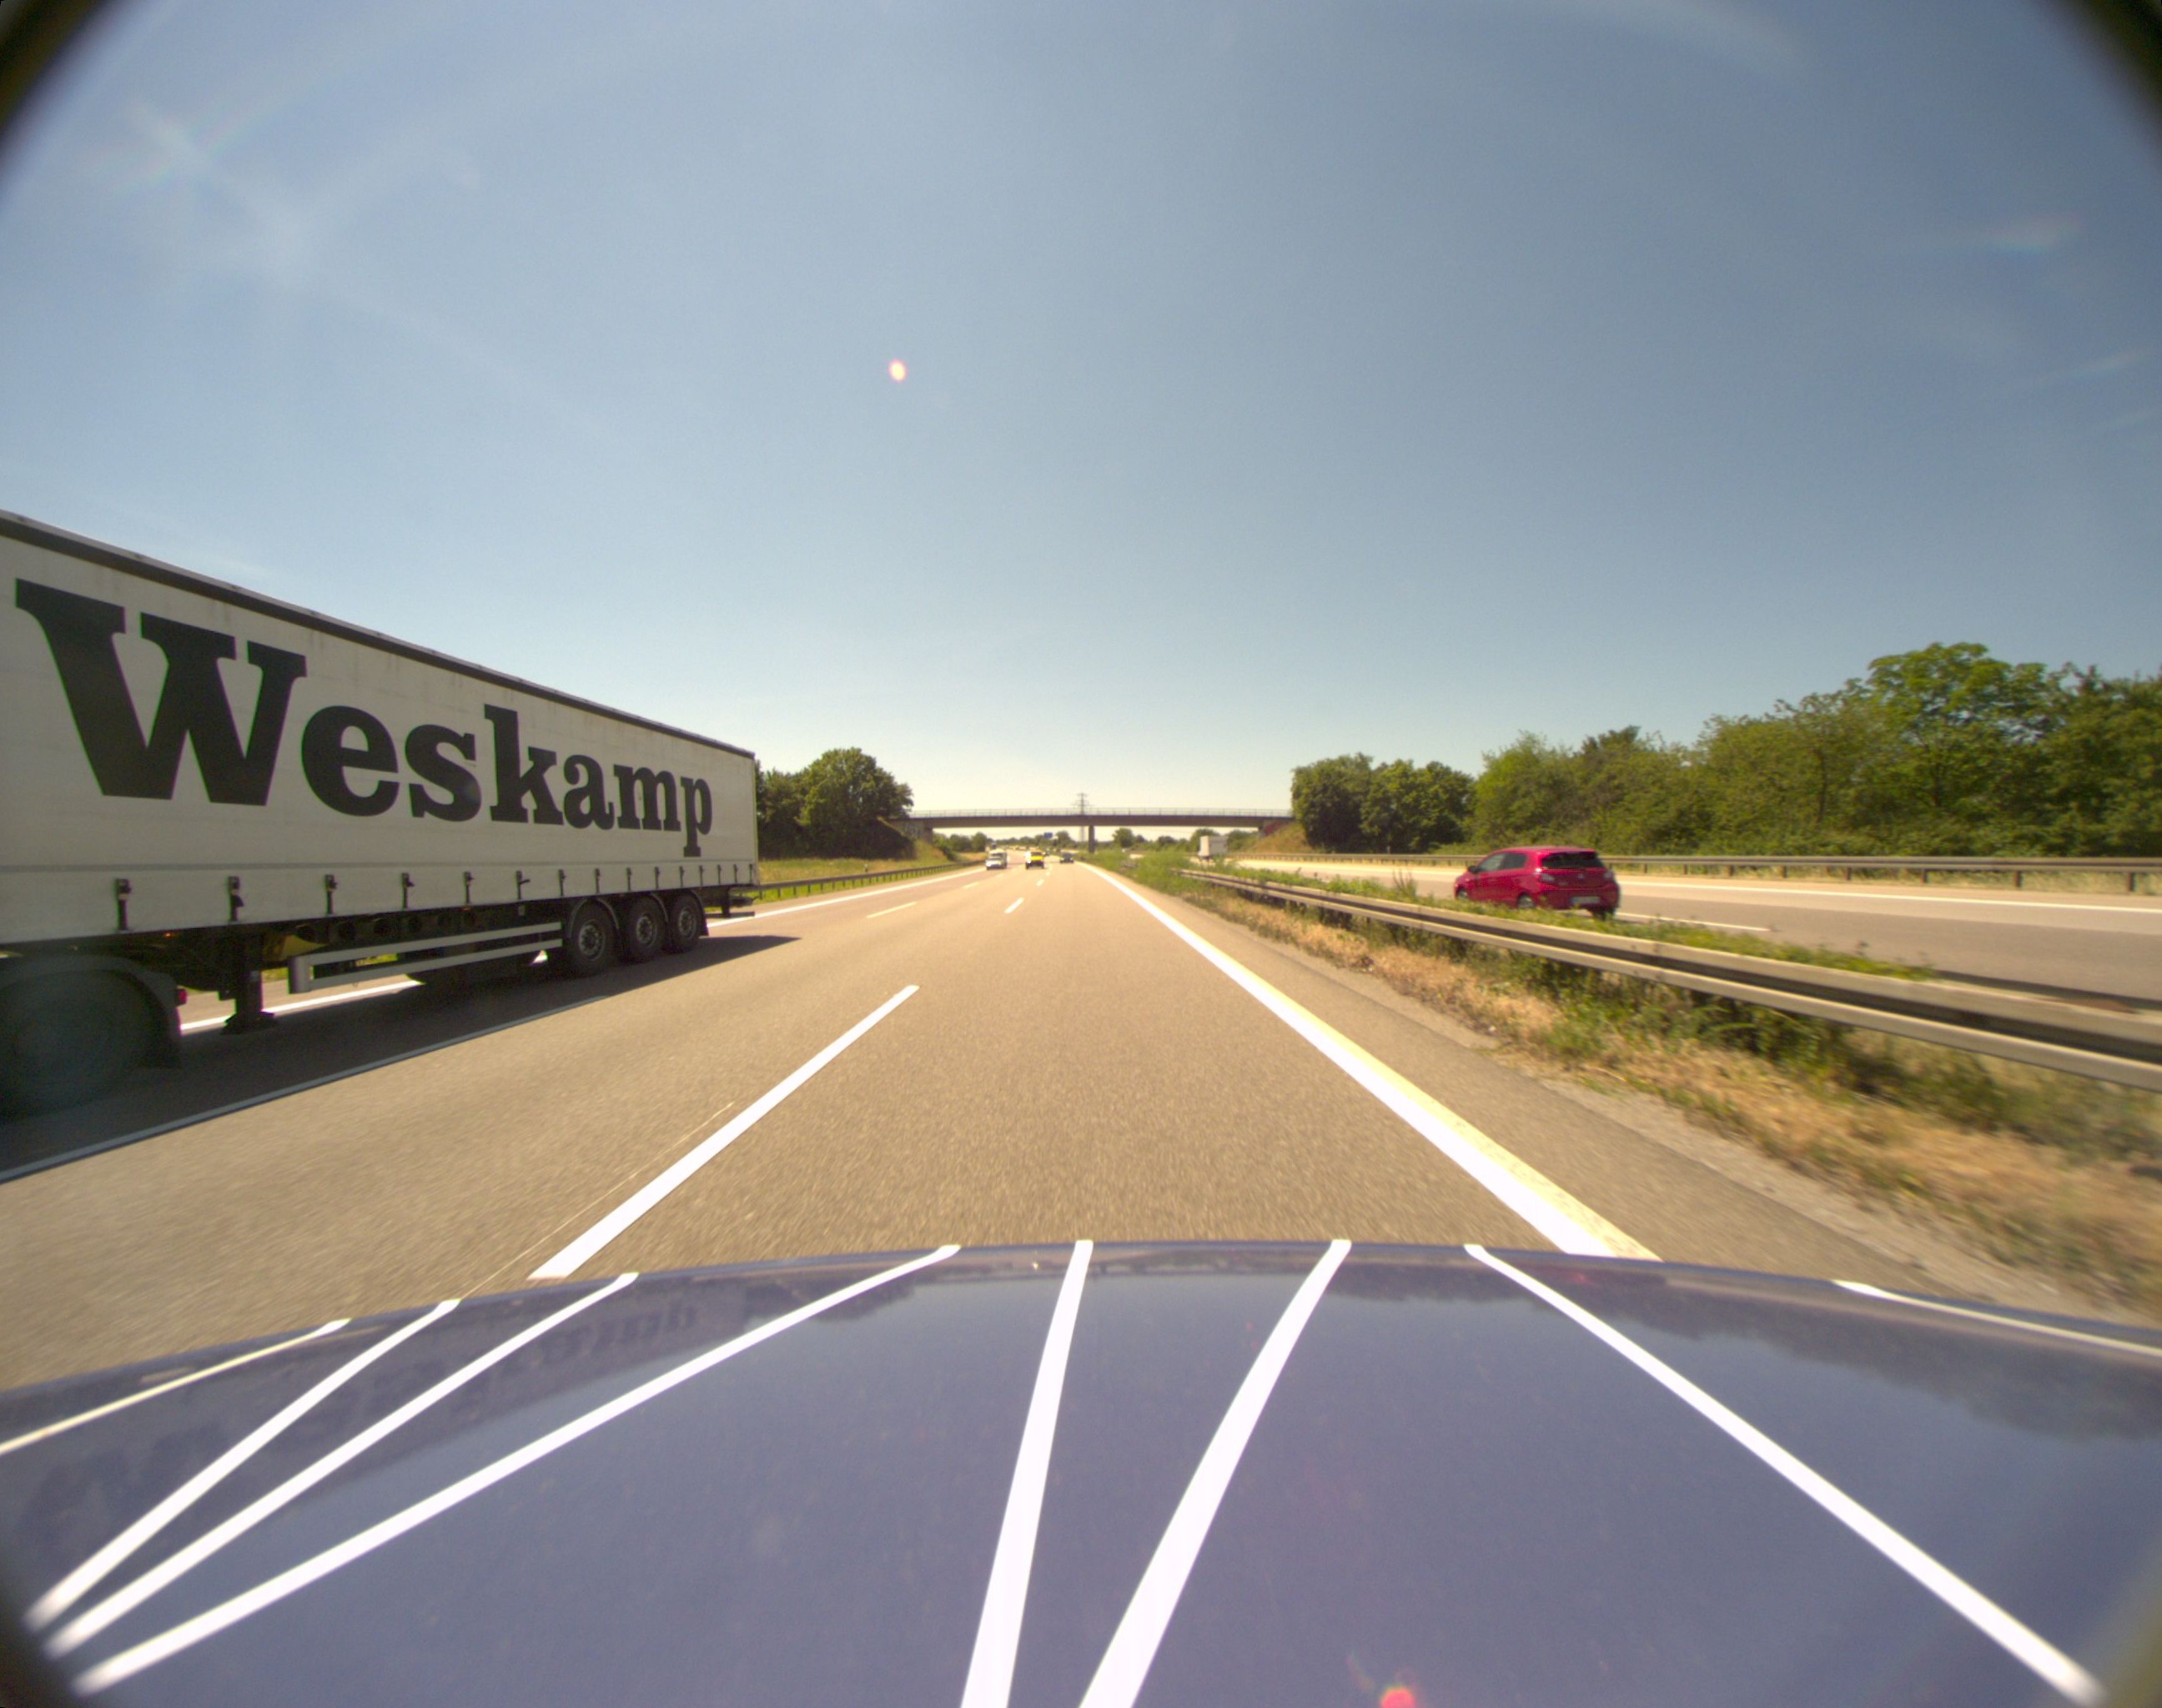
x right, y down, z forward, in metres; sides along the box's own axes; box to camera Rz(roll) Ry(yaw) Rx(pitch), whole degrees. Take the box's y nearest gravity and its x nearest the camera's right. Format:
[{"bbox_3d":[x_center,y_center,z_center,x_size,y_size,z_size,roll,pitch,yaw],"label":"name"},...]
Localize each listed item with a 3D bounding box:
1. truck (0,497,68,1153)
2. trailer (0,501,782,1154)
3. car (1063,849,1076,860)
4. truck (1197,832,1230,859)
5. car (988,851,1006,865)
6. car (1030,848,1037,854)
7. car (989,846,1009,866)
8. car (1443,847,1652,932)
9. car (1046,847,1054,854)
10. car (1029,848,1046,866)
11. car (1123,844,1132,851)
[{"bbox_3d":[-8.303,-0.143,2.595,2.607,4.231,5.089,-2,1,1],"label":"truck"},{"bbox_3d":[-8.290,-0.251,10.701,2.602,4.227,13.637,-2,1,0],"label":"trailer"},{"bbox_3d":[-1.574,0.039,105.981,1.726,1.478,3.999,-2,0,-1],"label":"car"},{"bbox_3d":[15.737,-0.995,90.743,2.458,3.081,6.988,-2,1,-2],"label":"truck"},{"bbox_3d":[-9.213,0.415,83.478,1.784,1.467,3.998,-1,1,-4],"label":"car"},{"bbox_3d":[-12.695,-0.898,202.881,1.649,1.557,3.598,-1,1,-4],"label":"car"},{"bbox_3d":[-9.668,0.204,90.143,2.188,2.253,4.949,-1,1,-4],"label":"car"},{"bbox_3d":[9.343,0.615,15.668,1.698,1.483,4.137,-1,1,-1],"label":"car"},{"bbox_3d":[-8.330,-0.994,204.946,1.999,1.707,3.998,-1,1,-4],"label":"car"},{"bbox_3d":[-4.563,0.293,79.445,1.777,1.882,3.830,-1,1,-4],"label":"car"},{"bbox_3d":[10.757,-1.519,176.563,1.715,1.565,4.403,-1,1,-1],"label":"car"}]
